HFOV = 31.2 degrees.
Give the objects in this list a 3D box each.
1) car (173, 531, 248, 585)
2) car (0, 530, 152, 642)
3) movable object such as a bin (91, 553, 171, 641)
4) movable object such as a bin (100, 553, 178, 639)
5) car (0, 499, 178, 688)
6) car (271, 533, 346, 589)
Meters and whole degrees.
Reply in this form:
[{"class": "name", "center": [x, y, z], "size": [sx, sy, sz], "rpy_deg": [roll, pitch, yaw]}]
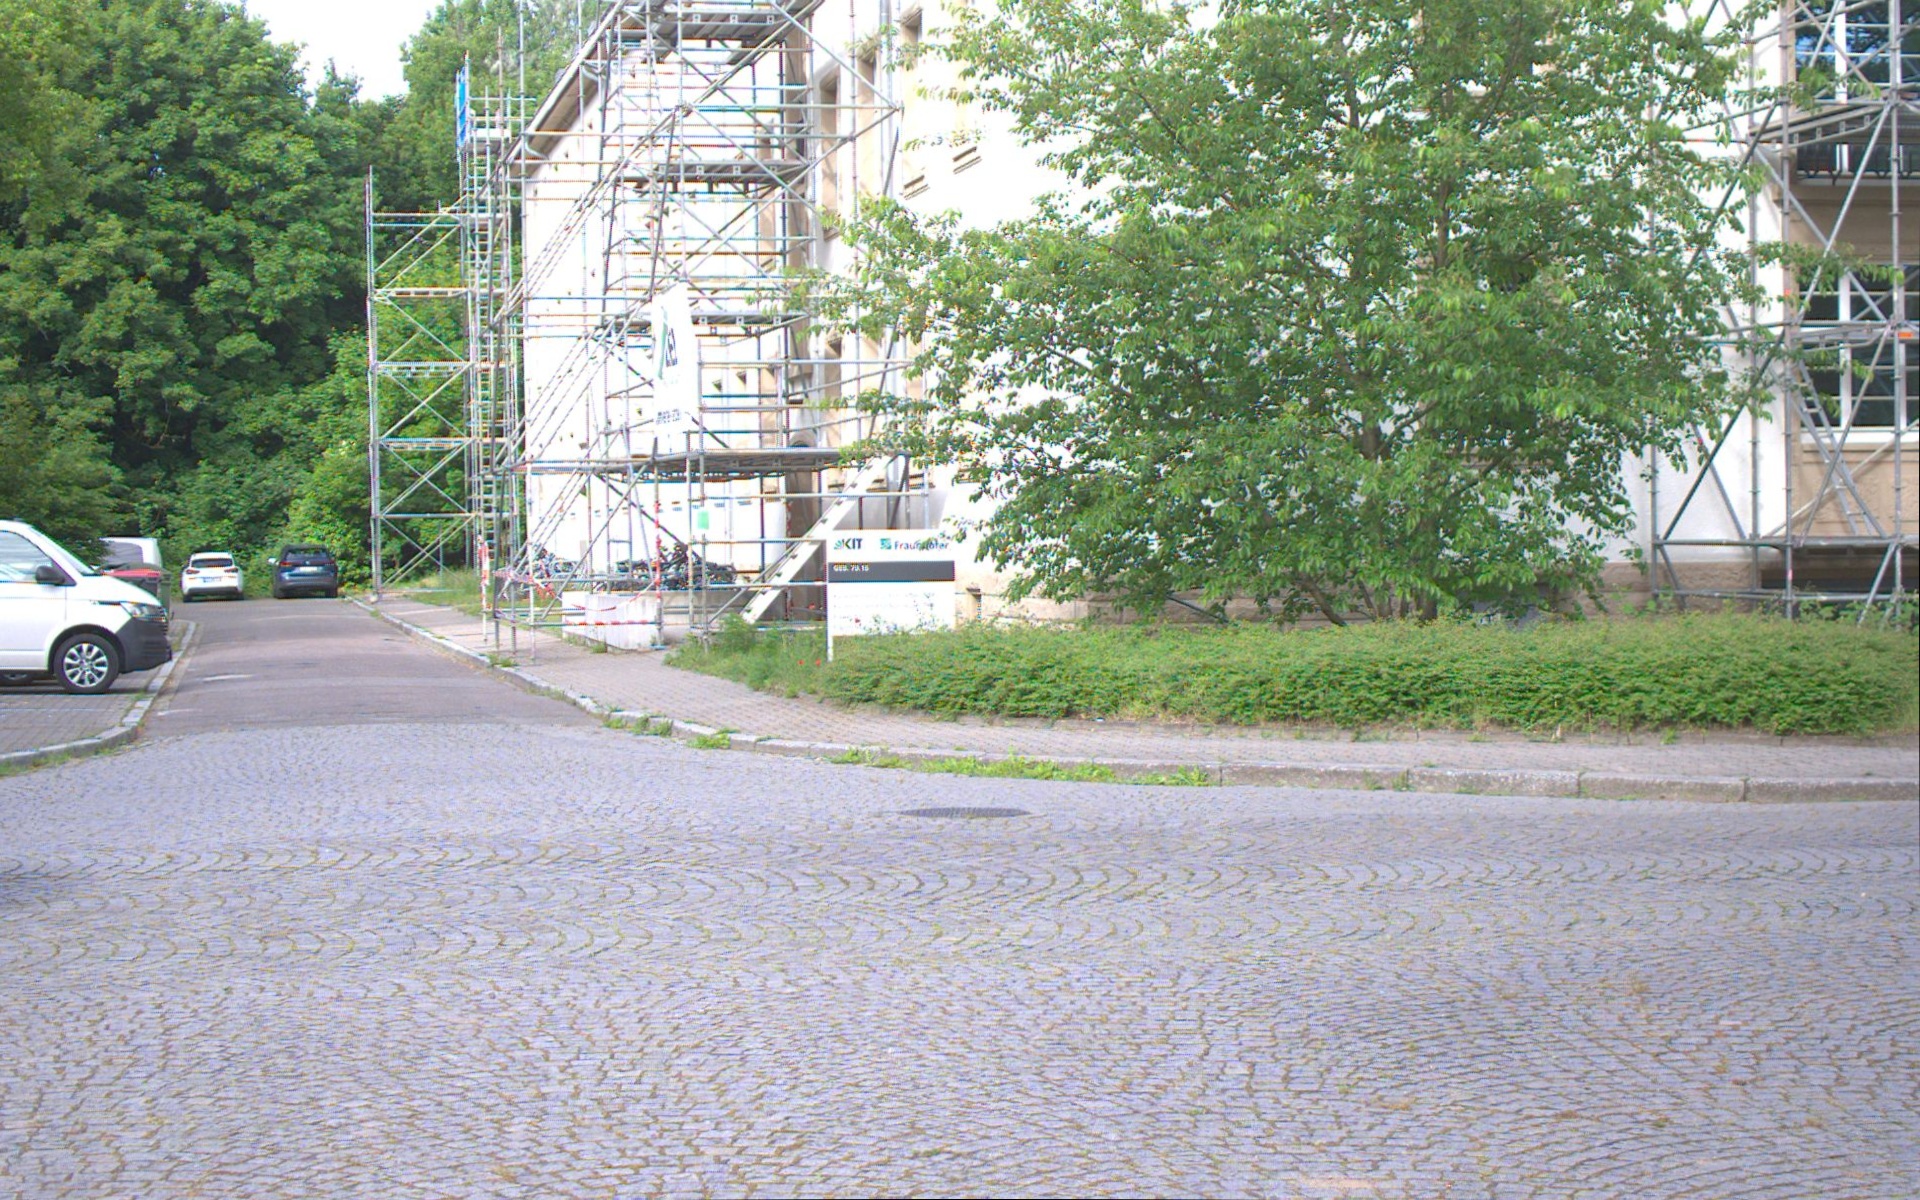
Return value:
[{"class": "car", "center": [-22.530, -1.249, 103.298], "size": [2.000, 1.542, 3.959], "rpy_deg": [2, 0, -14]}, {"class": "car", "center": [-17.401, -0.282, 65.046], "size": [3.985, 2.007, 1.922], "rpy_deg": [2, 0, -15]}, {"class": "movable object such as a bin", "center": [-13.622, -0.048, 56.521], "size": [1.183, 1.402, 0.975], "rpy_deg": [2, 0, -11]}, {"class": "movable object such as a bin", "center": [-13.792, -0.060, 57.781], "size": [1.183, 1.402, 0.975], "rpy_deg": [2, 0, -11]}, {"class": "car", "center": [-11.380, -0.081, 38.243], "size": [5.199, 2.053, 2.189], "rpy_deg": [0, 0, -12]}, {"class": "car", "center": [-19.742, -1.160, 104.258], "size": [2.063, 1.588, 4.001], "rpy_deg": [2, 0, -9]}]
